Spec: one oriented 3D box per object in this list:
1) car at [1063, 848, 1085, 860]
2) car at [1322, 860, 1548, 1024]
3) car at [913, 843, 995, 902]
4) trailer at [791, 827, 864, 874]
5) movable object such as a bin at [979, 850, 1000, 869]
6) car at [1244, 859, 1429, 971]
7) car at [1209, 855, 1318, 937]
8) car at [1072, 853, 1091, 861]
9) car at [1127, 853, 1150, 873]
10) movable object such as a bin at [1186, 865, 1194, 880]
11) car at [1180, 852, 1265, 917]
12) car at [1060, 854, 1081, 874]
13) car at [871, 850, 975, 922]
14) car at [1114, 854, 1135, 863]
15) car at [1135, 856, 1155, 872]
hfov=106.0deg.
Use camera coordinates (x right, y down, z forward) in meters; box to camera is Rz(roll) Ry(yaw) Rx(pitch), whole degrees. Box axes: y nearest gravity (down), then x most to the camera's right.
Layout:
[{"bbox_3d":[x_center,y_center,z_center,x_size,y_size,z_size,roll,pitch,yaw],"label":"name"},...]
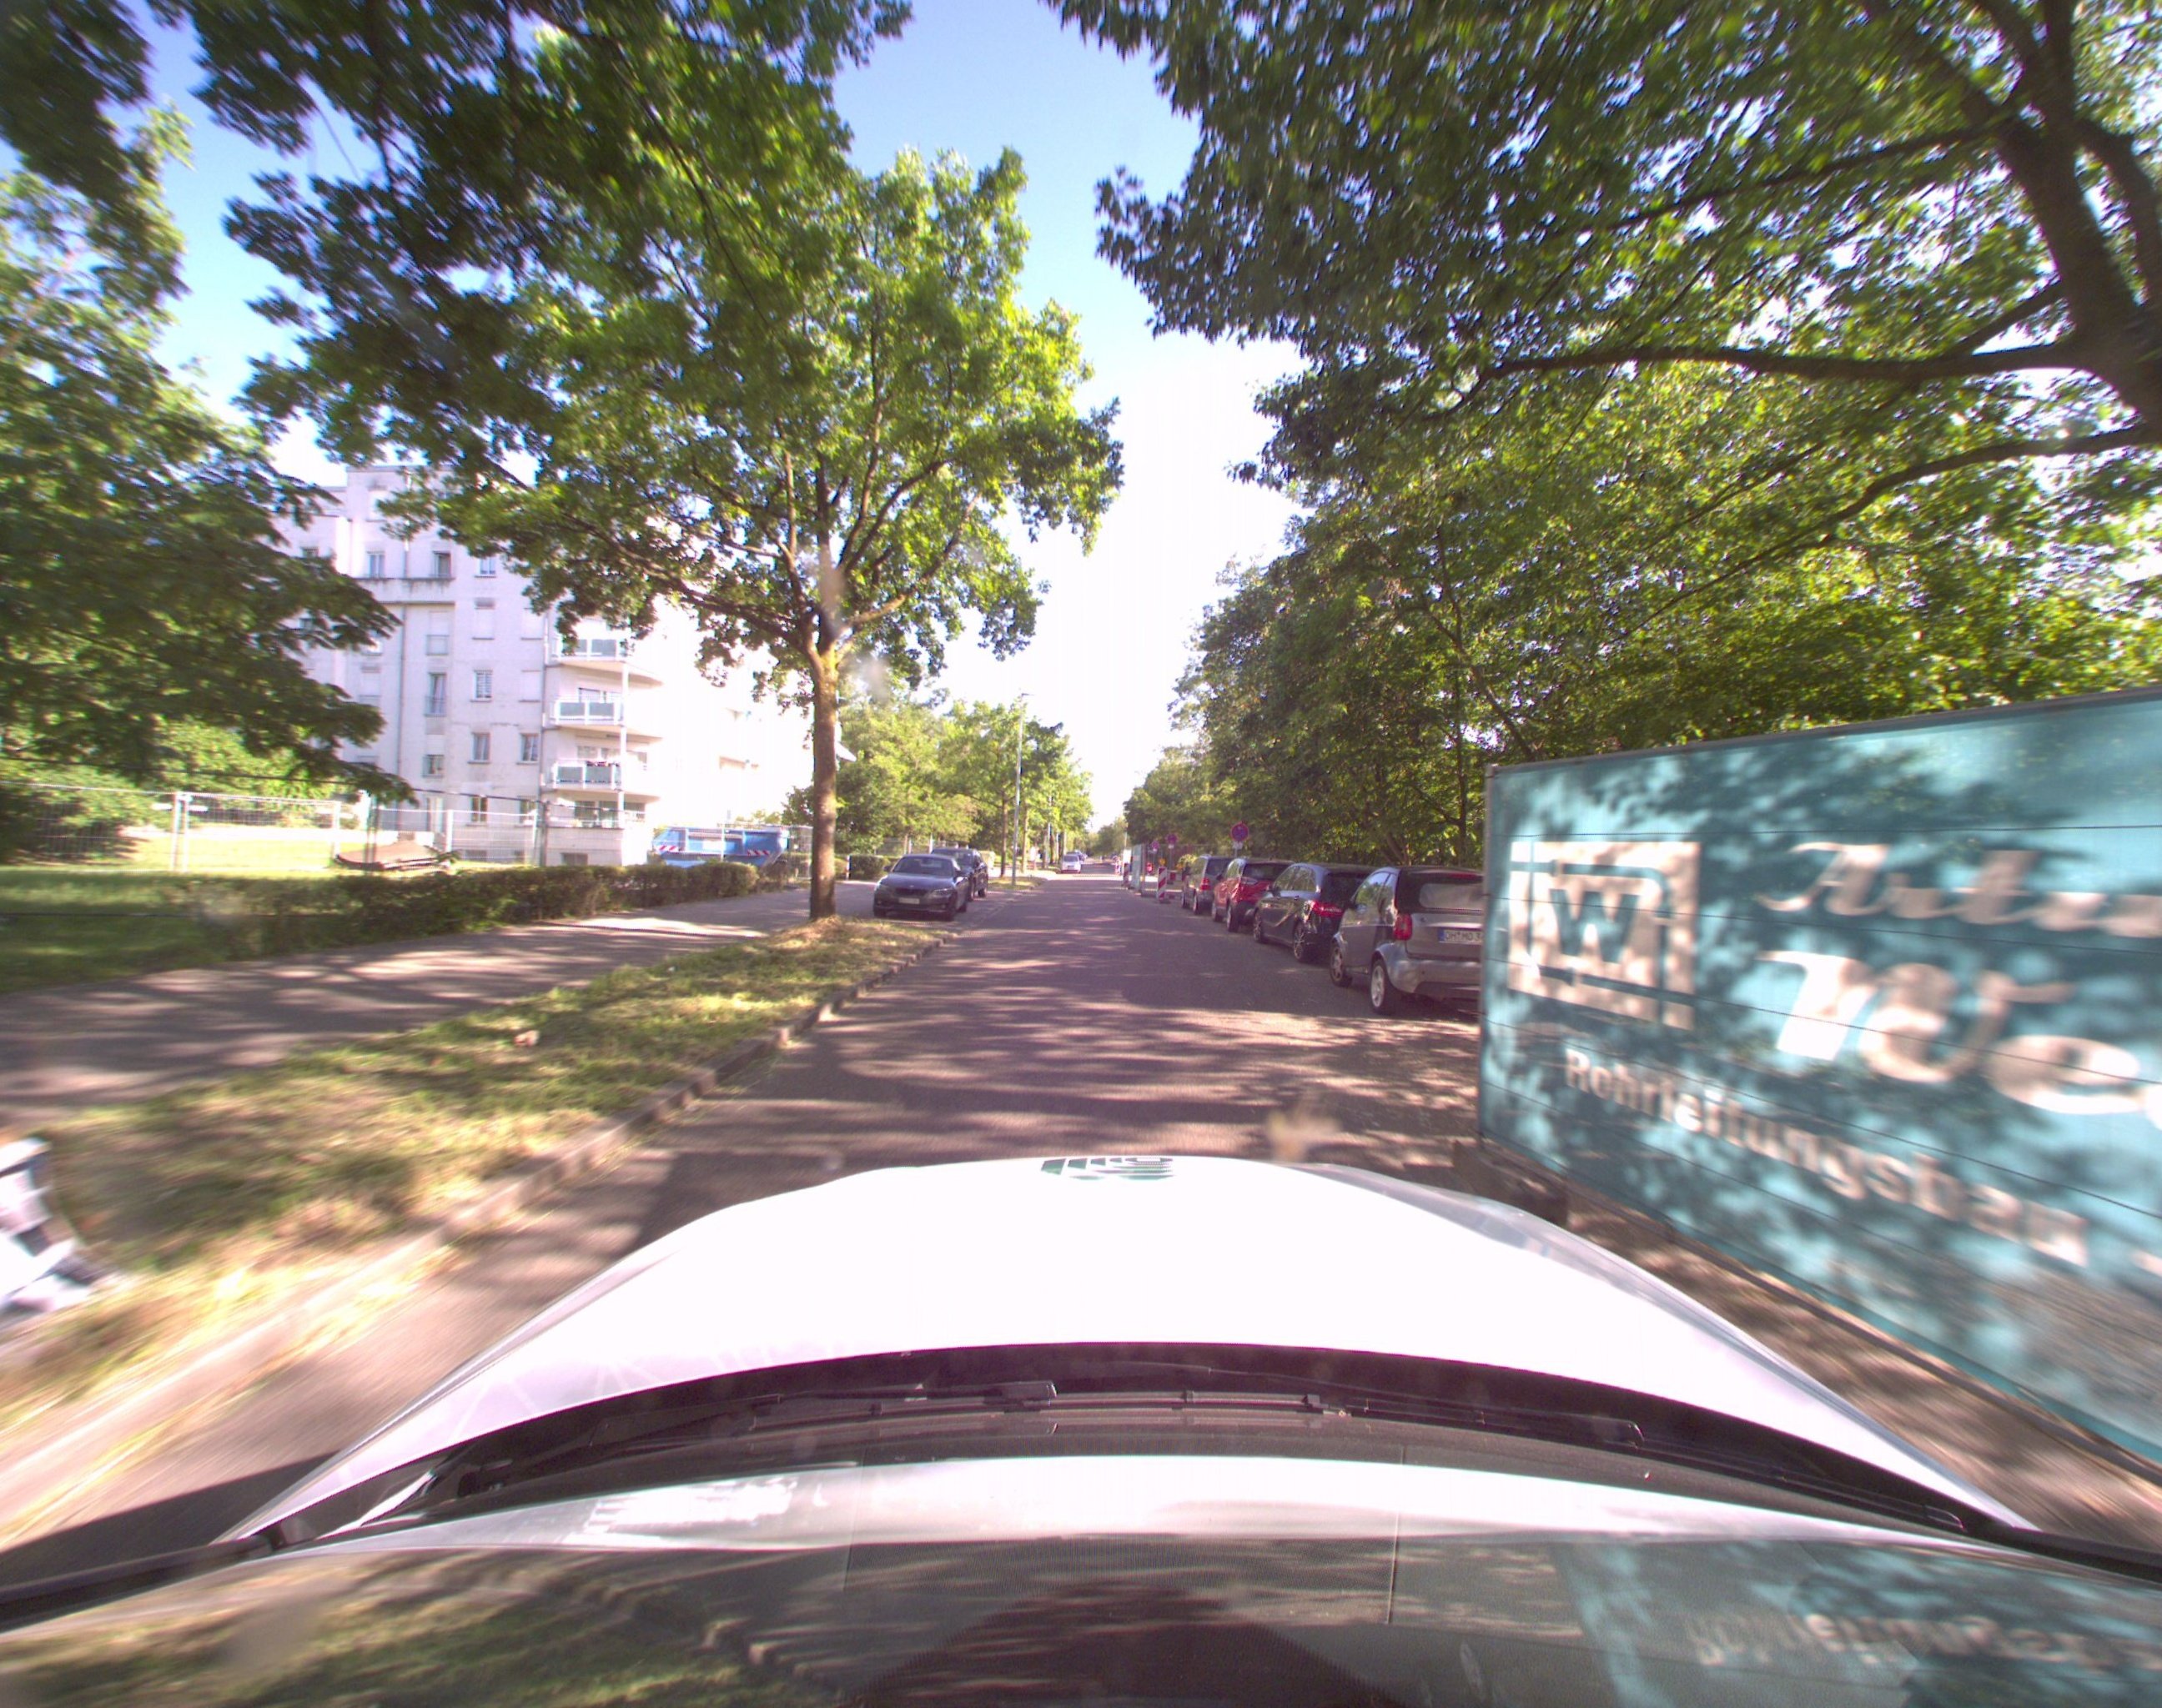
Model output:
[{"bbox_3d":[-1.676,0.047,193.581,5.189,2.621,2.290,3,0,-4],"label":"car"},{"bbox_3d":[3.844,0.863,9.277,1.487,1.509,2.679,2,0,3],"label":"car"},{"bbox_3d":[-3.937,0.540,25.935,1.769,1.621,4.221,3,0,1],"label":"car"},{"bbox_3d":[-12.478,-0.169,40.390,1.855,2.120,4.352,3,0,5],"label":"trailer"},{"bbox_3d":[-7.154,0.453,63.609,1.259,1.435,1.187,1,0,17],"label":"movable object such as a bin"},{"bbox_3d":[4.093,0.894,13.783,1.707,1.509,4.147,2,0,-2],"label":"car"},{"bbox_3d":[4.009,0.849,18.522,1.672,1.574,4.069,2,0,2],"label":"car"},{"bbox_3d":[0.024,0.749,184.604,4.090,1.576,1.960,3,0,3],"label":"car"},{"bbox_3d":[5.099,0.784,72.008,1.801,1.651,4.427,3,0,5],"label":"car"},{"bbox_3d":[6.389,1.068,47.922,0.411,0.870,0.484,0,-1,2],"label":"movable object such as a bin"},{"bbox_3d":[3.922,0.783,23.134,1.673,1.621,4.137,2,0,0],"label":"car"},{"bbox_3d":[-0.867,0.831,69.518,1.654,1.596,4.007,2,0,-1],"label":"car"},{"bbox_3d":[-3.586,0.661,19.194,1.712,1.432,4.134,3,0,-2],"label":"car"},{"bbox_3d":[8.750,0.837,163.642,3.817,1.576,1.692,3,0,7],"label":"car"},{"bbox_3d":[6.161,0.921,78.377,1.655,1.375,4.156,3,0,1],"label":"car"}]
